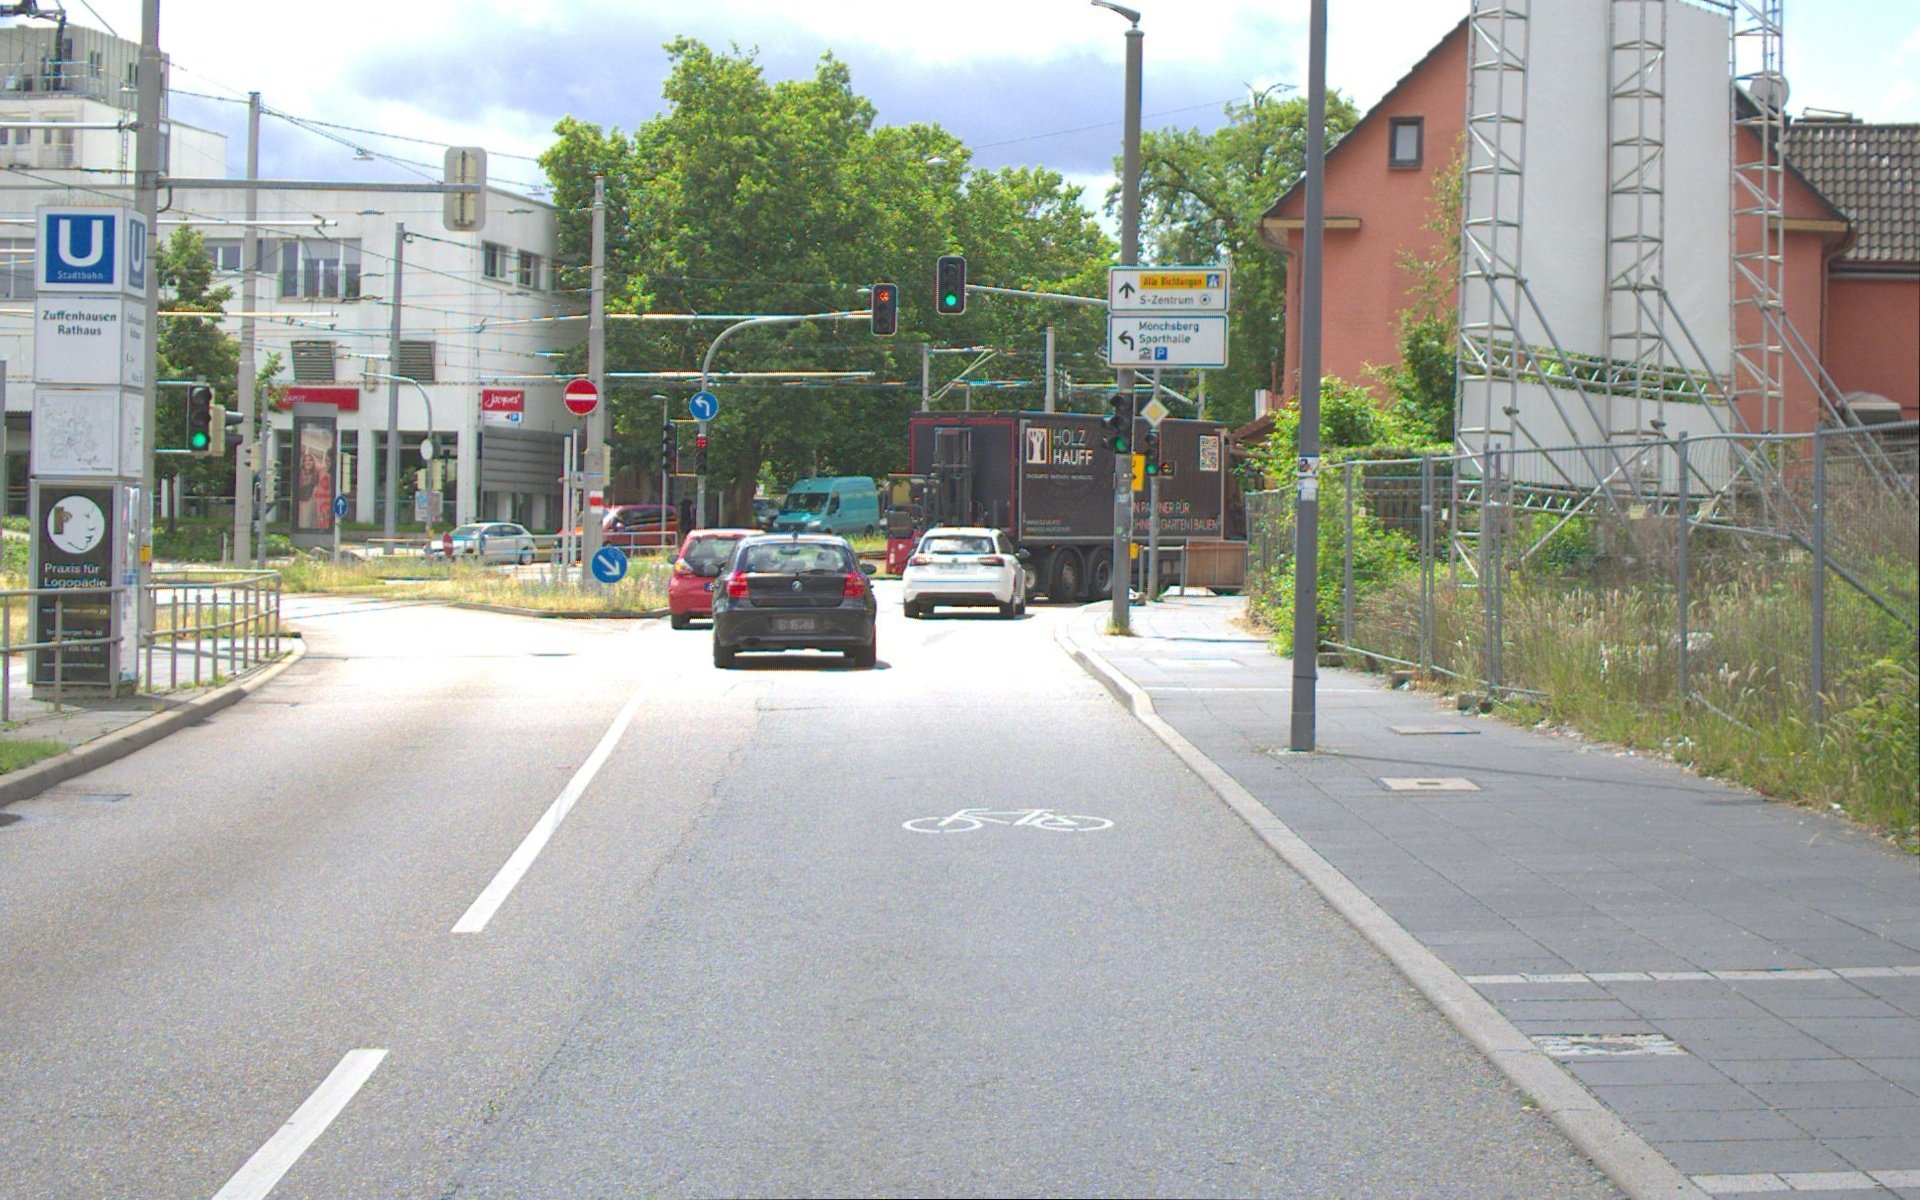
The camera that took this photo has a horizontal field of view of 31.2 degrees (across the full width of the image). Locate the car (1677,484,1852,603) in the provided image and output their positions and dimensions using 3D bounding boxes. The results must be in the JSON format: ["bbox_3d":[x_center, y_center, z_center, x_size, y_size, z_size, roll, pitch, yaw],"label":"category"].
[{"bbox_3d":[7.959,-0.574,34.126,1.072,1.117,2.446,-1,2,-2],"label":"car"}]

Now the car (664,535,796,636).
[{"bbox_3d":[-3.375,-0.246,50.975,1.712,1.388,3.809,0,2,0],"label":"car"}]

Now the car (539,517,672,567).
[{"bbox_3d":[-11.753,-1.948,114.158,1.998,1.595,4.190,2,2,39],"label":"car"}]

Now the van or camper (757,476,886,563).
[{"bbox_3d":[-5.026,-2.917,125.733,2.178,2.796,6.061,2,-1,23],"label":"van or camper"}]

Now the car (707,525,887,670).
[{"bbox_3d":[-1.813,-0.066,37.218,1.726,1.451,3.810,0,2,-6],"label":"car"}]

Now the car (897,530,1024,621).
[{"bbox_3d":[0.050,-0.414,57.407,1.888,1.460,4.069,0,0,3],"label":"car"}]

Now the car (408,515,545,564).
[{"bbox_3d":[-15.329,-1.911,109.110,1.998,1.459,3.991,2,1,40],"label":"car"}]

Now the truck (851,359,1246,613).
[{"bbox_3d":[1.924,-2.160,68.643,3.210,4.520,9.009,2,0,36],"label":"truck"}]
